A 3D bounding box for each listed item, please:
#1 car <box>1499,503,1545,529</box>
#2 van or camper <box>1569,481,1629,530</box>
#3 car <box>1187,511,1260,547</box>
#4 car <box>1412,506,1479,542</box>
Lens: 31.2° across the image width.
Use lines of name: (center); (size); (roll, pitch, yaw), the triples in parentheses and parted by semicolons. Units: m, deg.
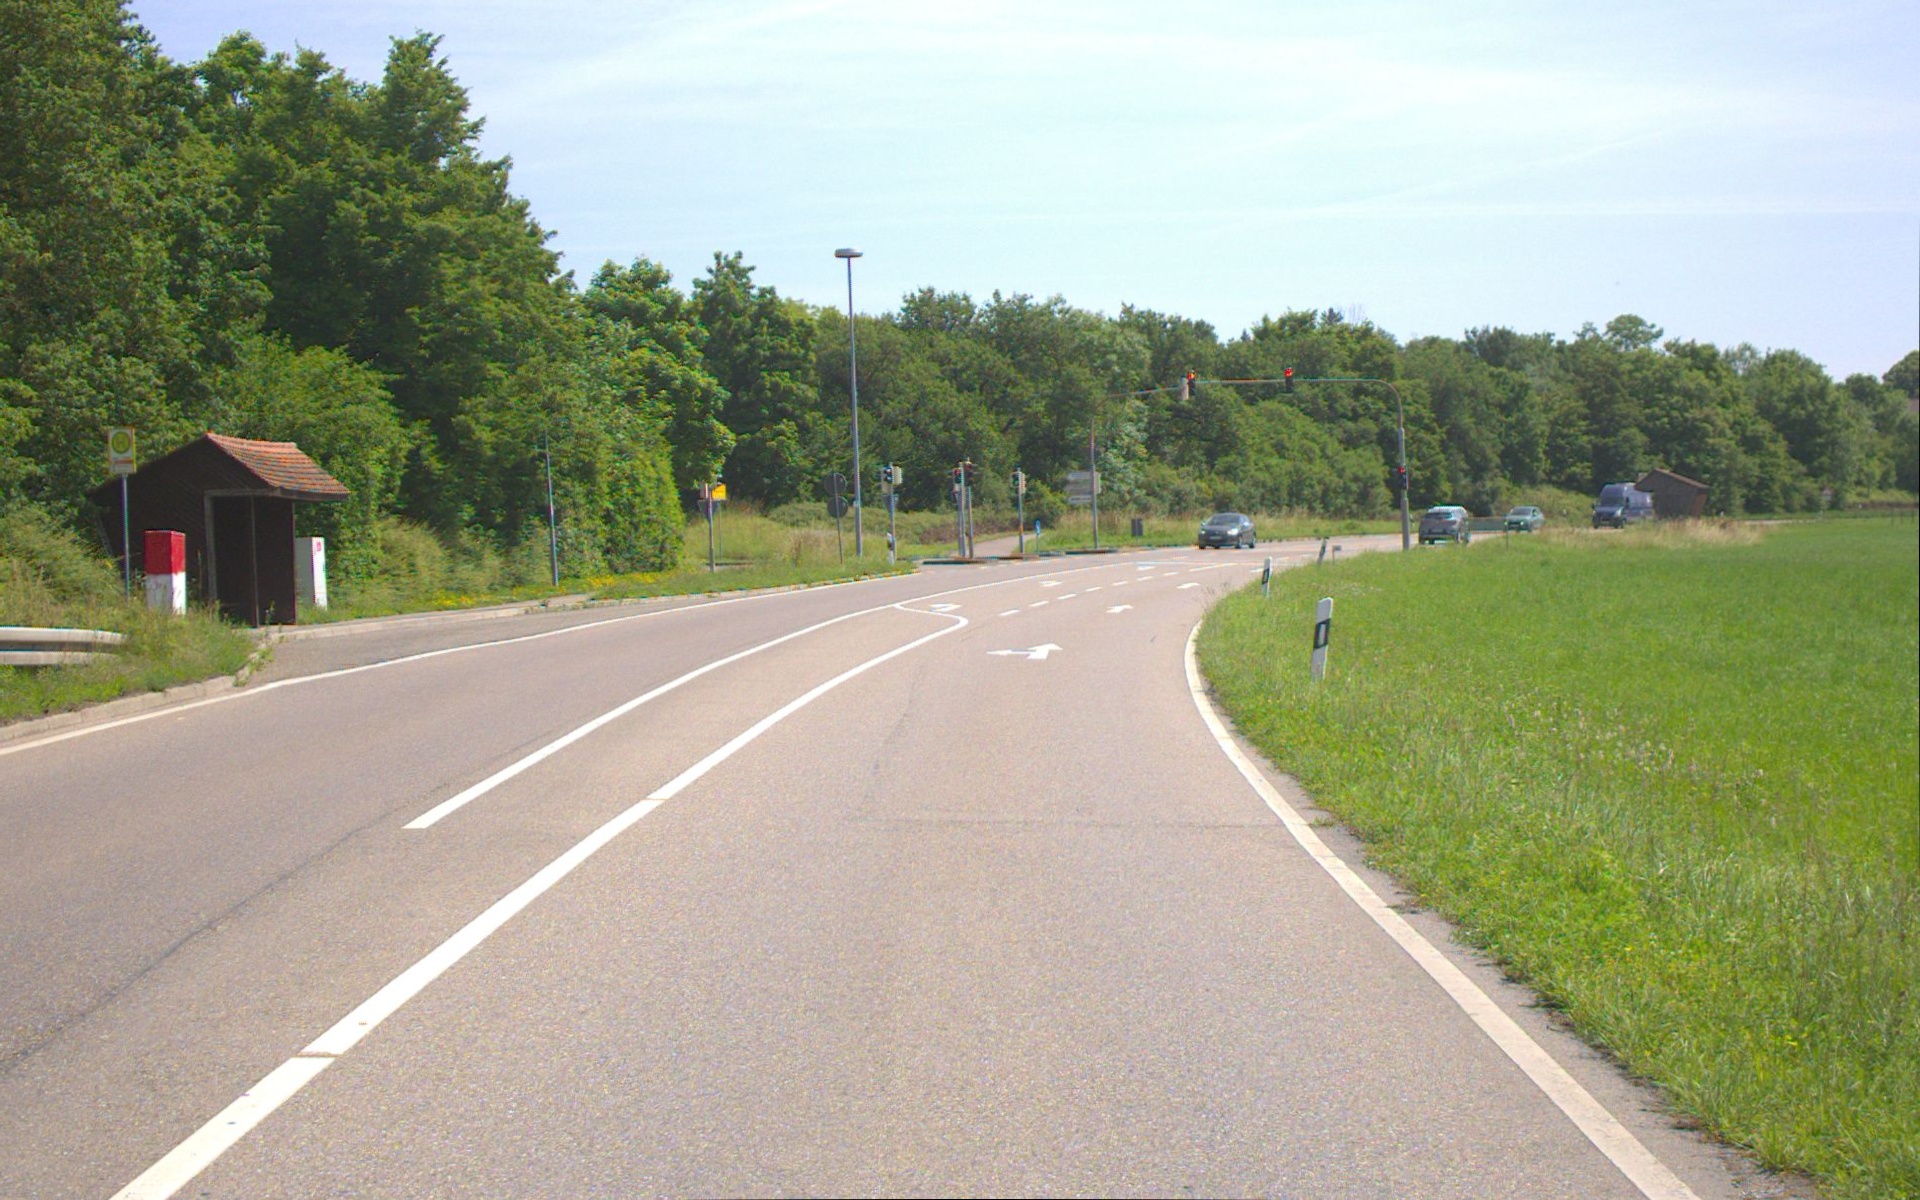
car: (32.555, -4.846, 198.977); (1.709, 1.478, 3.827); (0, 1, 24)
van or camper: (40.576, -5.997, 218.205); (2.242, 2.904, 7.239); (0, 3, 23)
car: (11.045, -2.969, 143.926); (1.793, 1.469, 4.305); (0, 1, 23)
car: (21.610, -3.359, 152.930); (1.996, 1.568, 3.995); (0, 1, 23)
